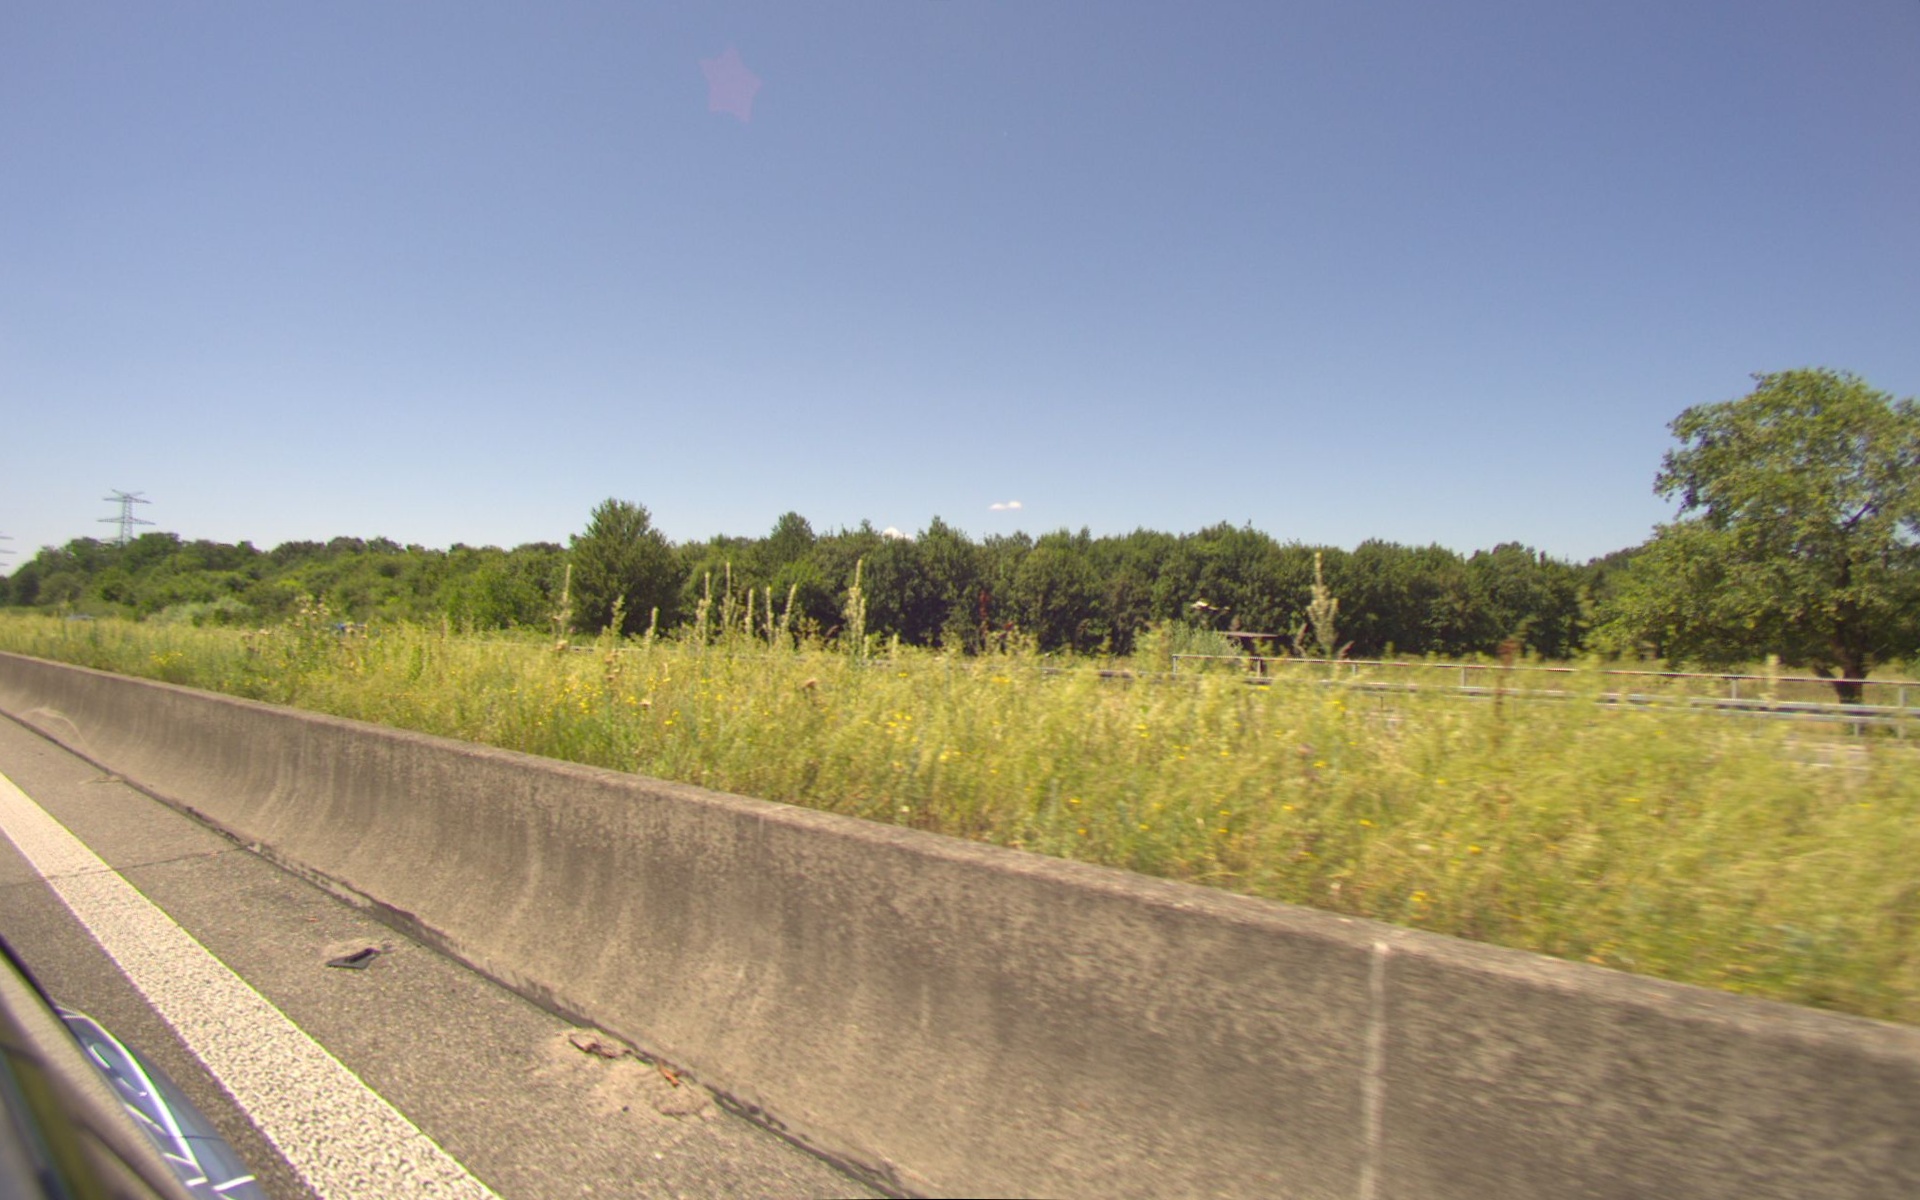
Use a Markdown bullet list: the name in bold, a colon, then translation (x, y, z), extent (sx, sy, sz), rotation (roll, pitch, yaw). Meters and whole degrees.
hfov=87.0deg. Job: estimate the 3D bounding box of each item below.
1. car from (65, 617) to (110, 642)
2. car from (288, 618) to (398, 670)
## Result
- **car**: translation (-62.709, 2.106, 72.713), extent (4.168, 1.666, 1.804), rotation (-1, -3, 41)
- **car**: translation (-22.159, 1.547, 36.299), extent (4.483, 1.761, 1.913), rotation (-1, -2, 38)
